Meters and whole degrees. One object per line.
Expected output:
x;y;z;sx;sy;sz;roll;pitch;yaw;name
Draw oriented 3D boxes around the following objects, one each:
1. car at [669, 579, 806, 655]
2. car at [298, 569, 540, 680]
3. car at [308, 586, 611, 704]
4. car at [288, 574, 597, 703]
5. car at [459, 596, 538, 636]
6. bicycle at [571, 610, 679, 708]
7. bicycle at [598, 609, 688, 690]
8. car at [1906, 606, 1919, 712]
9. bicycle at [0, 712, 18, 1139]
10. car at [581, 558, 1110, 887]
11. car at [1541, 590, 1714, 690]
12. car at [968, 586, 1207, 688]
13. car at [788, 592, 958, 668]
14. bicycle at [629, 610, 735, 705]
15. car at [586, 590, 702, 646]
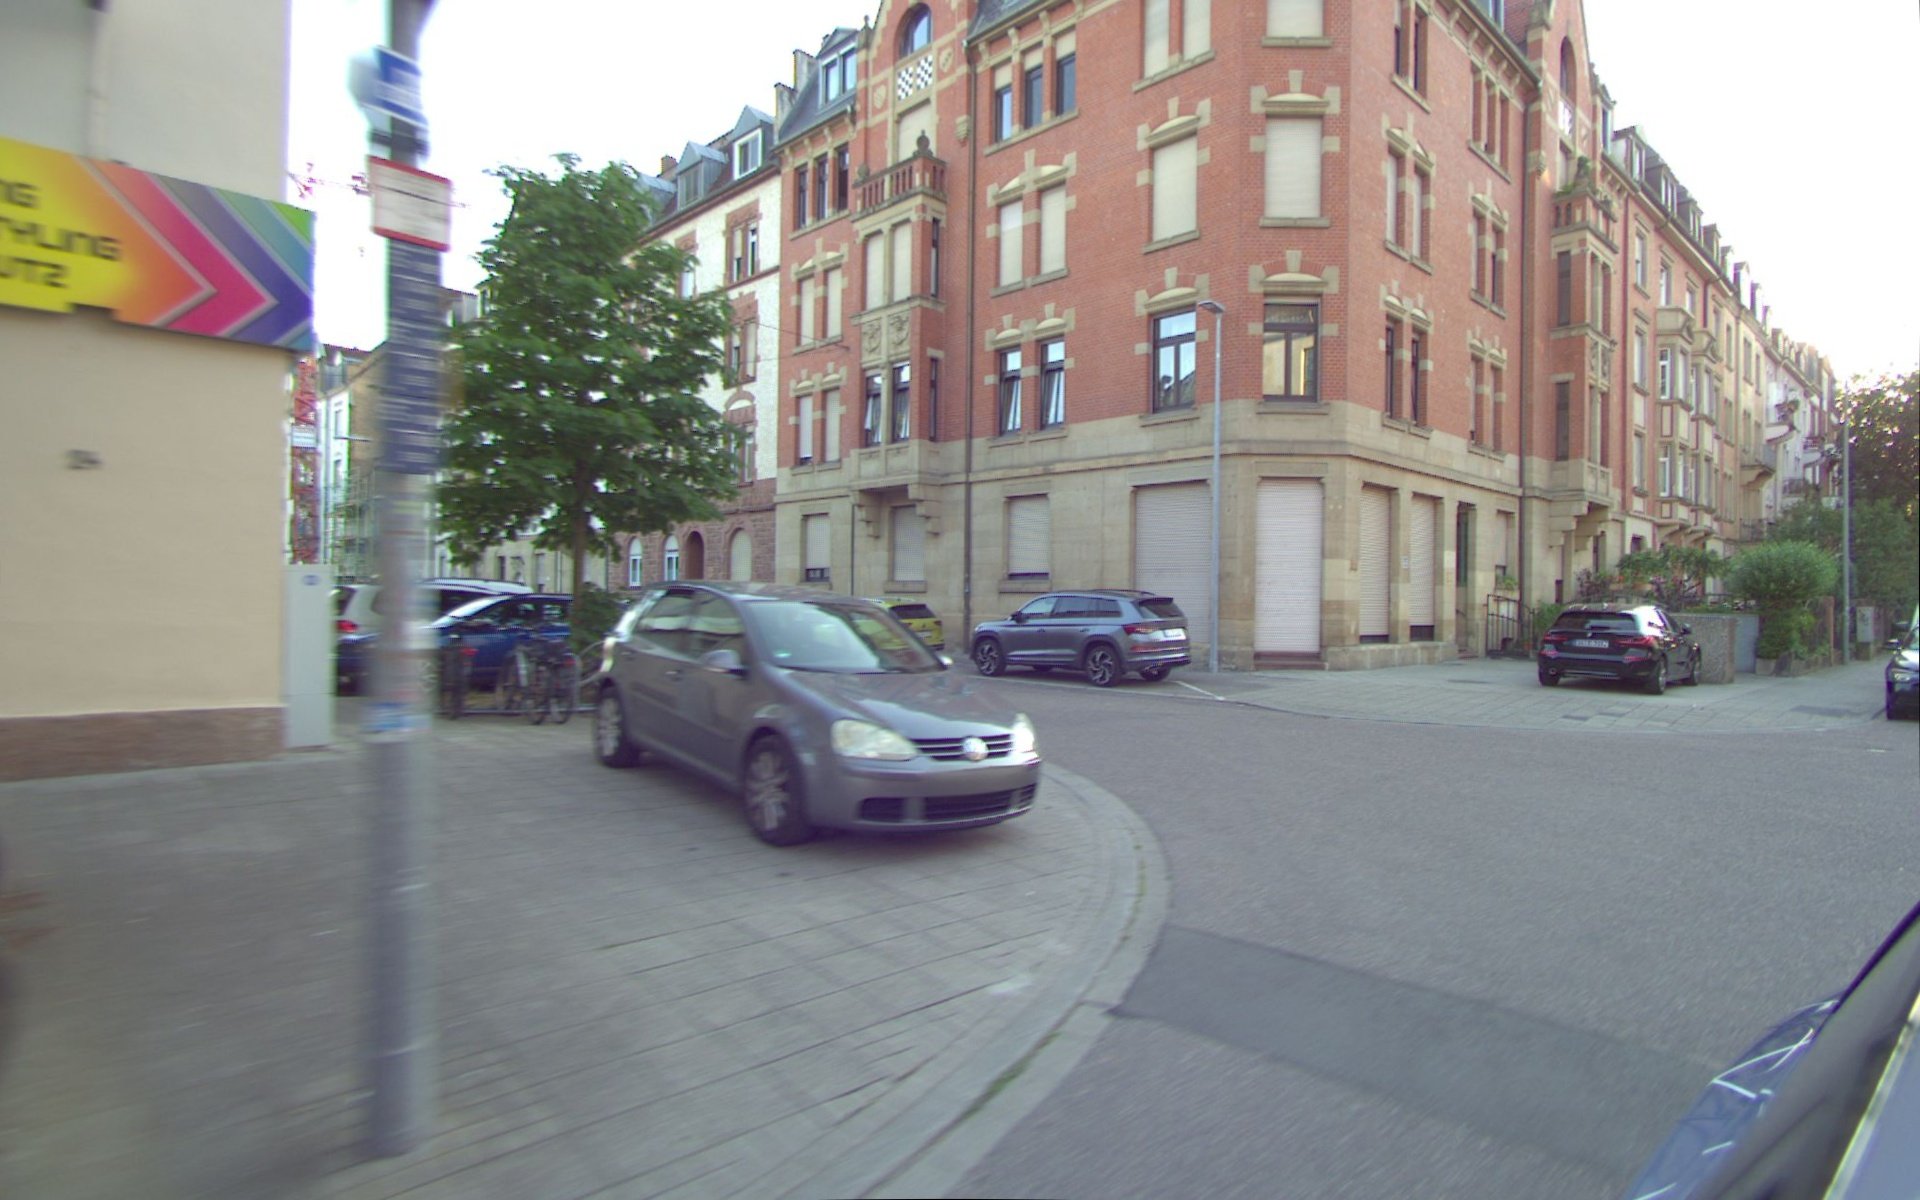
-6.004;0.420;27.102;1.814;1.882;3.867;1;0;-45;car
-9.842;0.403;18.517;3.590;1.823;1.831;0;0;-42;car
-7.168;0.570;14.658;3.590;1.489;1.831;0;0;-42;car
-8.281;0.547;16.413;4.147;1.823;1.831;0;0;-42;car
-17.907;0.596;39.188;1.640;1.471;3.688;1;0;-45;car
-4.045;0.672;12.154;0.520;1.076;1.818;1;-1;-43;bicycle
-4.532;0.669;14.404;0.474;1.076;1.818;1;-1;-43;bicycle
14.504;0.793;14.173;1.729;1.393;3.702;0;0;45;car
-3.131;0.829;2.061;0.357;1.037;1.756;0;-1;45;bicycle
-1.065;0.548;7.040;1.771;1.509;3.999;2;2;-38;car
11.698;0.616;17.640;1.796;1.543;3.935;0;0;45;car
2.296;0.614;19.040;1.751;1.687;4.335;1;0;-45;car
-2.084;0.631;23.373;1.800;1.585;3.988;1;0;-45;car
-3.451;0.666;12.459;0.469;1.076;1.818;1;-1;-43;bicycle
-9.677;0.510;30.854;1.775;1.581;3.988;1;0;-45;car
